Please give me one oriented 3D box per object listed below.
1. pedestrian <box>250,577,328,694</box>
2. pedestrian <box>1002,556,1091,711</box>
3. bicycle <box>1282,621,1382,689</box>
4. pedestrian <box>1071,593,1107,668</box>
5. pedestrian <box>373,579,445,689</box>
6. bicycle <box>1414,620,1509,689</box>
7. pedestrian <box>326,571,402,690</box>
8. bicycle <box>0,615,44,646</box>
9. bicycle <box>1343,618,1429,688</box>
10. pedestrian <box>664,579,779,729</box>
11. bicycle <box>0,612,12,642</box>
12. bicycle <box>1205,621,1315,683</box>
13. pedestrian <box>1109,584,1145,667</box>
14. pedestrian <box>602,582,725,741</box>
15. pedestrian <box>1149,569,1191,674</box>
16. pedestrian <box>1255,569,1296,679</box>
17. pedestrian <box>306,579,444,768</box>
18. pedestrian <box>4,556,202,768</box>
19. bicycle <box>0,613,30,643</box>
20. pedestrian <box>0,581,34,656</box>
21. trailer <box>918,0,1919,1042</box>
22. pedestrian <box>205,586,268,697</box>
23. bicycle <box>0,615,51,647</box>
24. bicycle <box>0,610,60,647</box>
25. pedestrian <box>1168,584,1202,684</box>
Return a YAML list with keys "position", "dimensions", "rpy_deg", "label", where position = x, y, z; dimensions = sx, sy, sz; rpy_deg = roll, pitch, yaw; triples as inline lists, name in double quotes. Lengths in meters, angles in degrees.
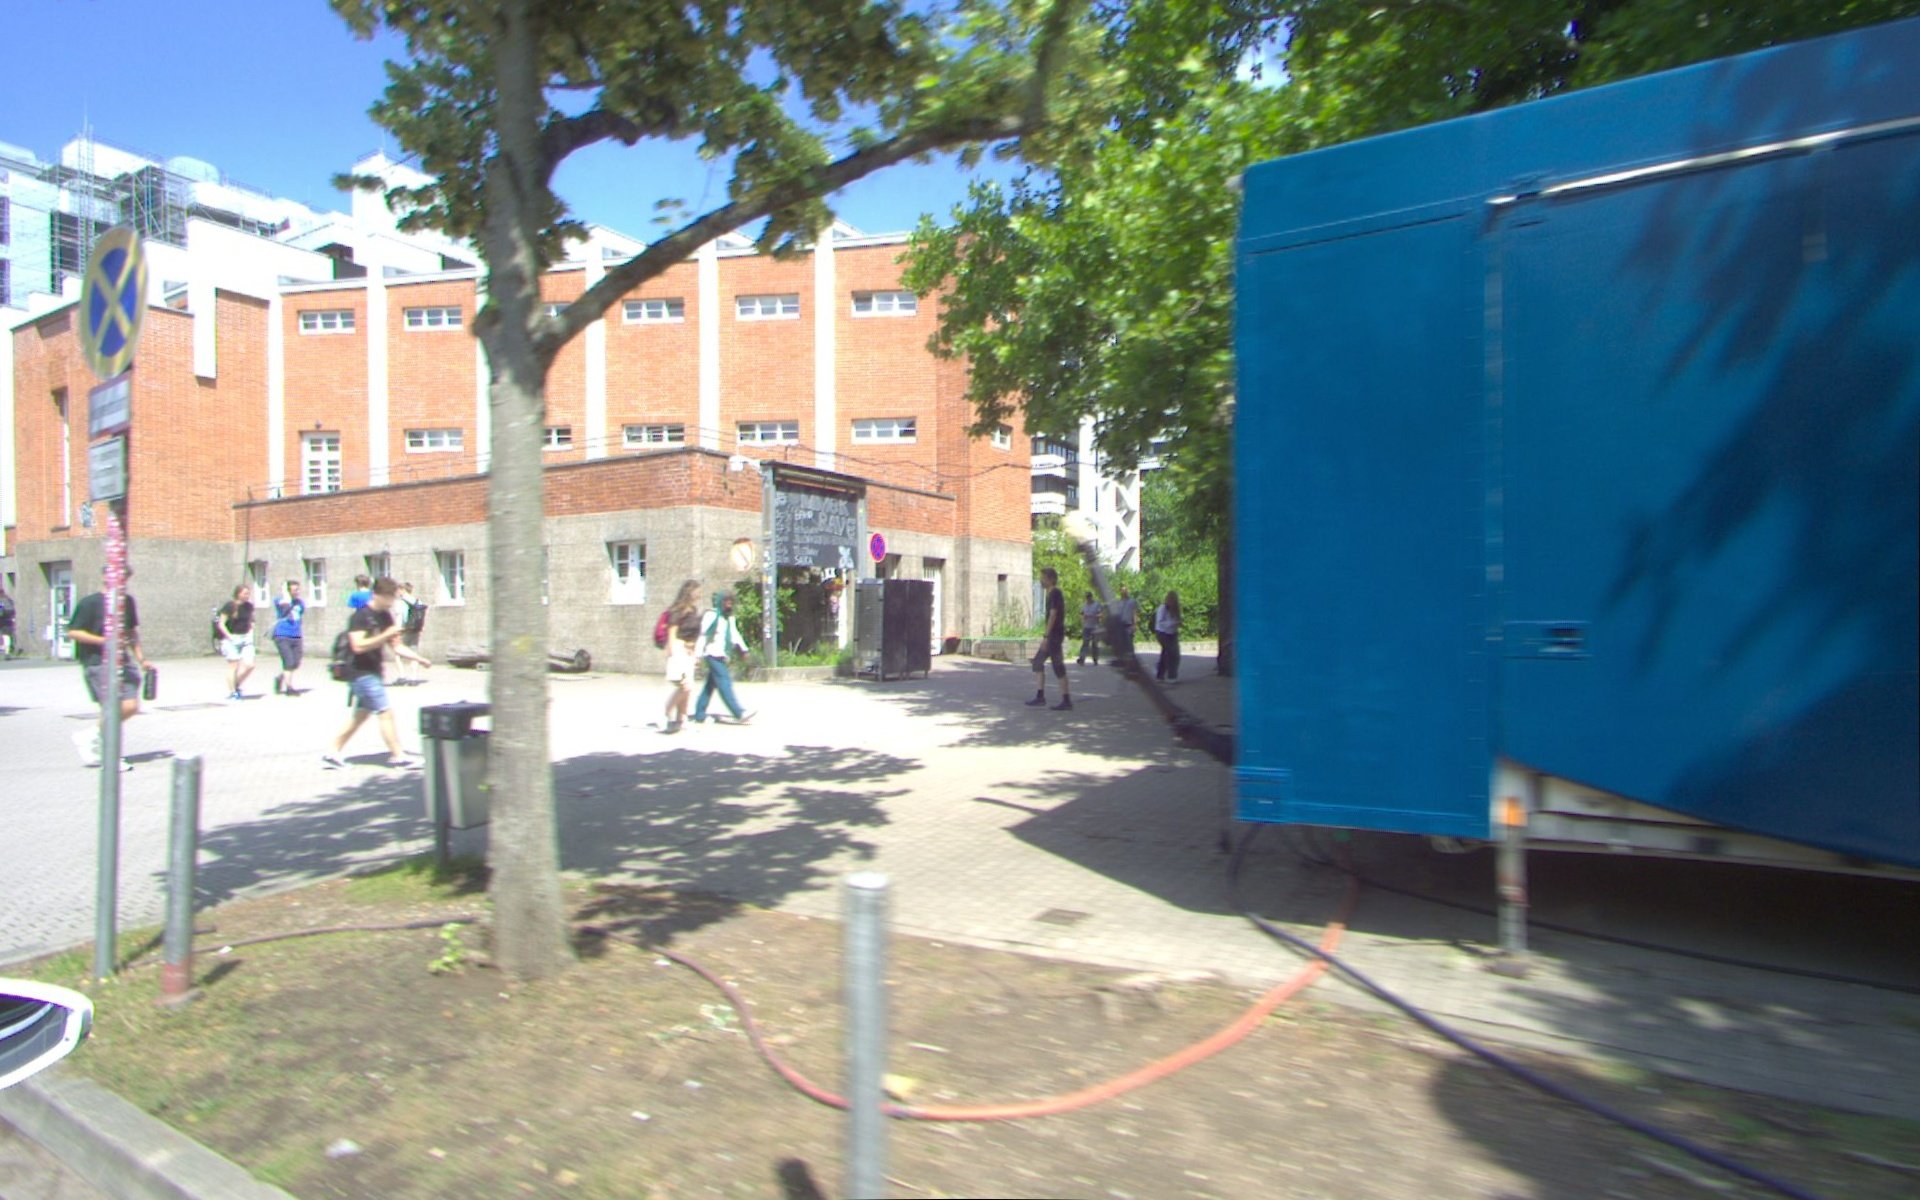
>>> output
- position: [-10.710, 0.548, 15.986]
  dimensions: [0.739, 1.812, 0.709]
  rpy_deg: [0, 1, 18]
  label: "pedestrian"
- position: [1.111, 0.423, 12.737]
  dimensions: [1.056, 1.891, 0.763]
  rpy_deg: [0, -1, 11]
  label: "pedestrian"
- position: [6.616, 0.938, 17.725]
  dimensions: [0.775, 1.086, 2.382]
  rpy_deg: [0, 0, 44]
  label: "bicycle"
- position: [3.098, 0.724, 24.075]
  dimensions: [0.718, 1.762, 0.834]
  rpy_deg: [0, 2, 17]
  label: "pedestrian"
- position: [-9.566, 0.563, 17.390]
  dimensions: [0.980, 1.828, 0.699]
  rpy_deg: [2, 3, 35]
  label: "pedestrian"
- position: [8.443, 0.885, 16.805]
  dimensions: [0.774, 1.085, 2.383]
  rpy_deg: [0, -2, 43]
  label: "bicycle"
- position: [-9.929, 0.482, 16.690]
  dimensions: [0.980, 1.918, 0.699]
  rpy_deg: [2, 3, 35]
  label: "pedestrian"
- position: [-29.962, 0.959, 31.343]
  dimensions: [0.552, 0.924, 1.806]
  rpy_deg: [0, 1, 31]
  label: "bicycle"
- position: [7.340, 0.871, 17.183]
  dimensions: [0.773, 1.086, 2.387]
  rpy_deg: [0, 0, 38]
  label: "bicycle"
- position: [-2.814, 0.599, 11.868]
  dimensions: [0.934, 1.661, 0.874]
  rpy_deg: [1, 5, 28]
  label: "pedestrian"
- position: [-32.588, 0.921, 33.034]
  dimensions: [0.552, 0.998, 1.805]
  rpy_deg: [0, 2, 31]
  label: "bicycle"
- position: [5.913, 1.005, 19.764]
  dimensions: [1.997, 1.155, 0.572]
  rpy_deg: [0, 0, 32]
  label: "bicycle"
- position: [3.951, 0.591, 23.643]
  dimensions: [0.718, 1.907, 0.834]
  rpy_deg: [1, 0, 18]
  label: "pedestrian"
- position: [-3.260, 0.636, 11.055]
  dimensions: [0.935, 1.660, 0.873]
  rpy_deg: [0, 2, 31]
  label: "pedestrian"
- position: [3.897, 0.392, 18.598]
  dimensions: [0.521, 1.908, 0.556]
  rpy_deg: [0, 0, -29]
  label: "pedestrian"
- position: [5.580, 0.426, 17.710]
  dimensions: [0.523, 1.908, 0.445]
  rpy_deg: [1, 1, 42]
  label: "pedestrian"
- position: [-5.252, 0.624, 9.057]
  dimensions: [0.815, 1.617, 0.849]
  rpy_deg: [0, 2, -12]
  label: "pedestrian"
- position: [-7.926, 0.550, 9.311]
  dimensions: [1.094, 1.885, 0.854]
  rpy_deg: [0, 1, 2]
  label: "pedestrian"
- position: [-31.122, 0.913, 32.101]
  dimensions: [0.552, 0.924, 1.805]
  rpy_deg: [0, 2, 31]
  label: "bicycle"
- position: [-24.406, 0.455, 25.593]
  dimensions: [1.100, 1.885, 0.788]
  rpy_deg: [0, 1, 31]
  label: "pedestrian"
- position: [3.138, -0.295, 4.167]
  dimensions: [6.164, 3.093, 2.687]
  rpy_deg: [0, 1, 31]
  label: "trailer"
- position: [-10.986, 0.629, 15.203]
  dimensions: [0.561, 1.652, 0.502]
  rpy_deg: [-1, 1, 19]
  label: "pedestrian"
- position: [-29.285, 0.968, 30.834]
  dimensions: [0.552, 0.924, 1.806]
  rpy_deg: [0, 1, 31]
  label: "bicycle"
- position: [-27.764, 0.834, 29.664]
  dimensions: [0.552, 1.047, 1.532]
  rpy_deg: [0, 1, 31]
  label: "bicycle"
- position: [4.350, 0.648, 19.387]
  dimensions: [0.548, 1.908, 0.529]
  rpy_deg: [-1, 2, 4]
  label: "pedestrian"
